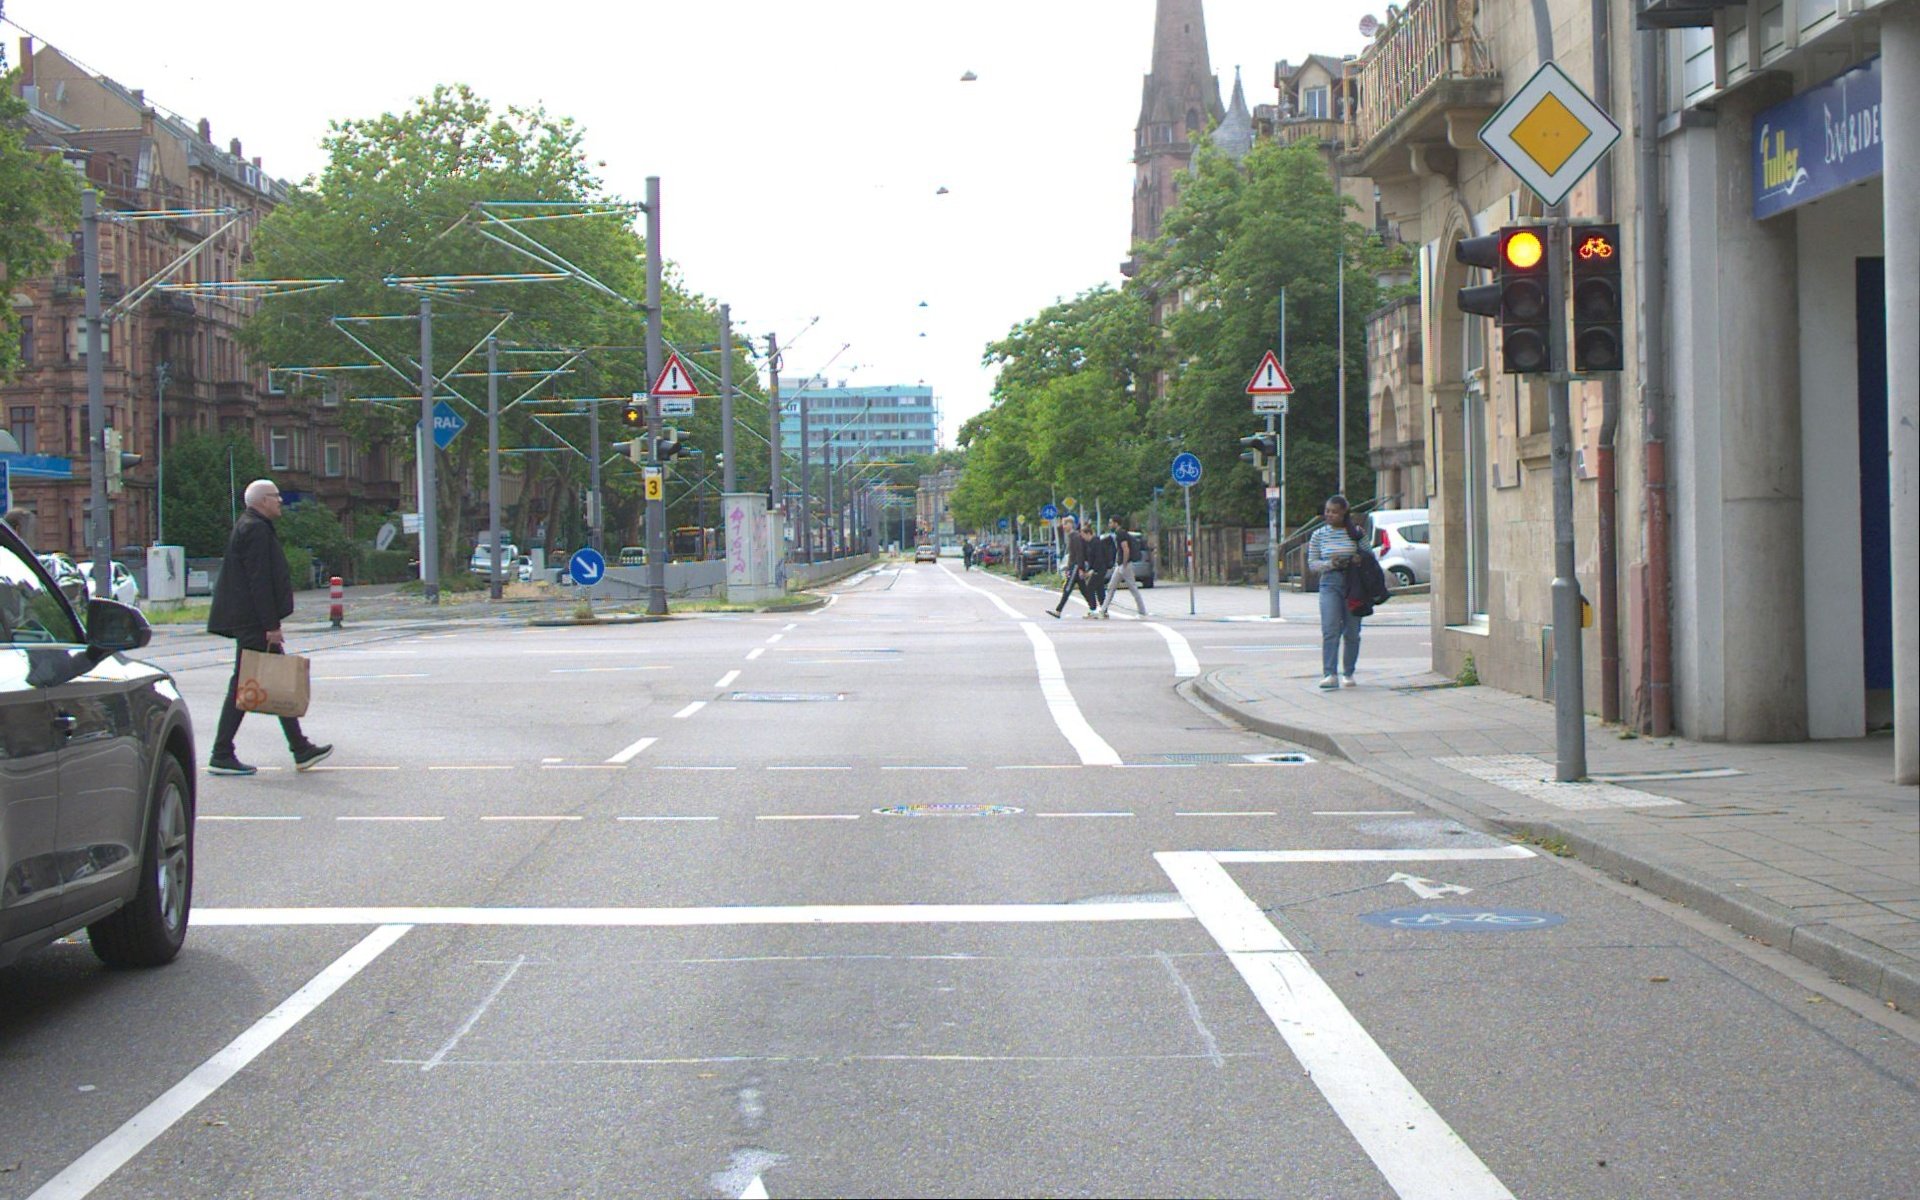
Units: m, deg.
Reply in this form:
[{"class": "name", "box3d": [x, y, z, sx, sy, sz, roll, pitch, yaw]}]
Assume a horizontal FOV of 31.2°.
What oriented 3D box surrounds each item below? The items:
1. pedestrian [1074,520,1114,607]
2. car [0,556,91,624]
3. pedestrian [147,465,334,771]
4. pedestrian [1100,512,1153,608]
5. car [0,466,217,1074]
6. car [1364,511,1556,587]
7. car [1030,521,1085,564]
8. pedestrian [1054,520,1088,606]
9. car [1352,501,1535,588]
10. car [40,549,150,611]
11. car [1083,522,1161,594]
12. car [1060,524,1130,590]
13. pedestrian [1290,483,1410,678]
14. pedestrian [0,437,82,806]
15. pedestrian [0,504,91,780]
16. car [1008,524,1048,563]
[{"class": "pedestrian", "box3d": [2.377, -0.643, 60.913, 0.653, 1.531, 0.466, 0, 1, -5]}, {"class": "car", "box3d": [-21.937, -0.253, 81.248, 1.894, 1.552, 3.837, 0, 1, -1]}, {"class": "pedestrian", "box3d": [-4.293, 0.096, 20.506, 0.917, 1.778, 0.646, 1, 1, 37]}, {"class": "pedestrian", "box3d": [2.872, -0.697, 59.348, 0.850, 1.648, 0.508, 0, 1, -2]}, {"class": "car", "box3d": [-3.480, 0.437, 9.772, 1.880, 1.596, 4.358, 0, 1, -1]}, {"class": "car", "box3d": [10.709, -1.095, 73.795, 3.799, 1.595, 2.000, 0, 1, 0]}, {"class": "car", "box3d": [3.883, -2.308, 137.370, 1.993, 1.602, 4.164, -2, 1, -1]}, {"class": "pedestrian", "box3d": [1.985, -0.666, 61.421, 0.545, 1.531, 0.466, 0, 1, -5]}, {"class": "car", "box3d": [10.834, -1.250, 77.204, 3.799, 1.897, 2.000, 0, 1, 0]}, {"class": "car", "box3d": [-22.150, -0.531, 88.151, 1.894, 1.552, 3.837, 0, 1, -1]}, {"class": "car", "box3d": [4.646, -1.214, 99.182, 1.993, 2.007, 4.000, 0, 1, -1]}, {"class": "car", "box3d": [4.250, -1.365, 108.564, 1.993, 2.007, 4.000, 0, 1, -1]}, {"class": "pedestrian", "box3d": [3.408, -0.175, 30.005, 0.671, 1.674, 0.866, 1, 1, 38]}, {"class": "pedestrian", "box3d": [-4.898, 0.104, 16.786, 1.130, 1.772, 0.628, -1, 0, -18]}, {"class": "pedestrian", "box3d": [-5.666, 0.234, 20.205, 0.702, 1.587, 0.829, 1, 1, 37]}, {"class": "car", "box3d": [3.576, -2.980, 181.318, 1.993, 2.007, 4.000, 0, 1, -1]}]
